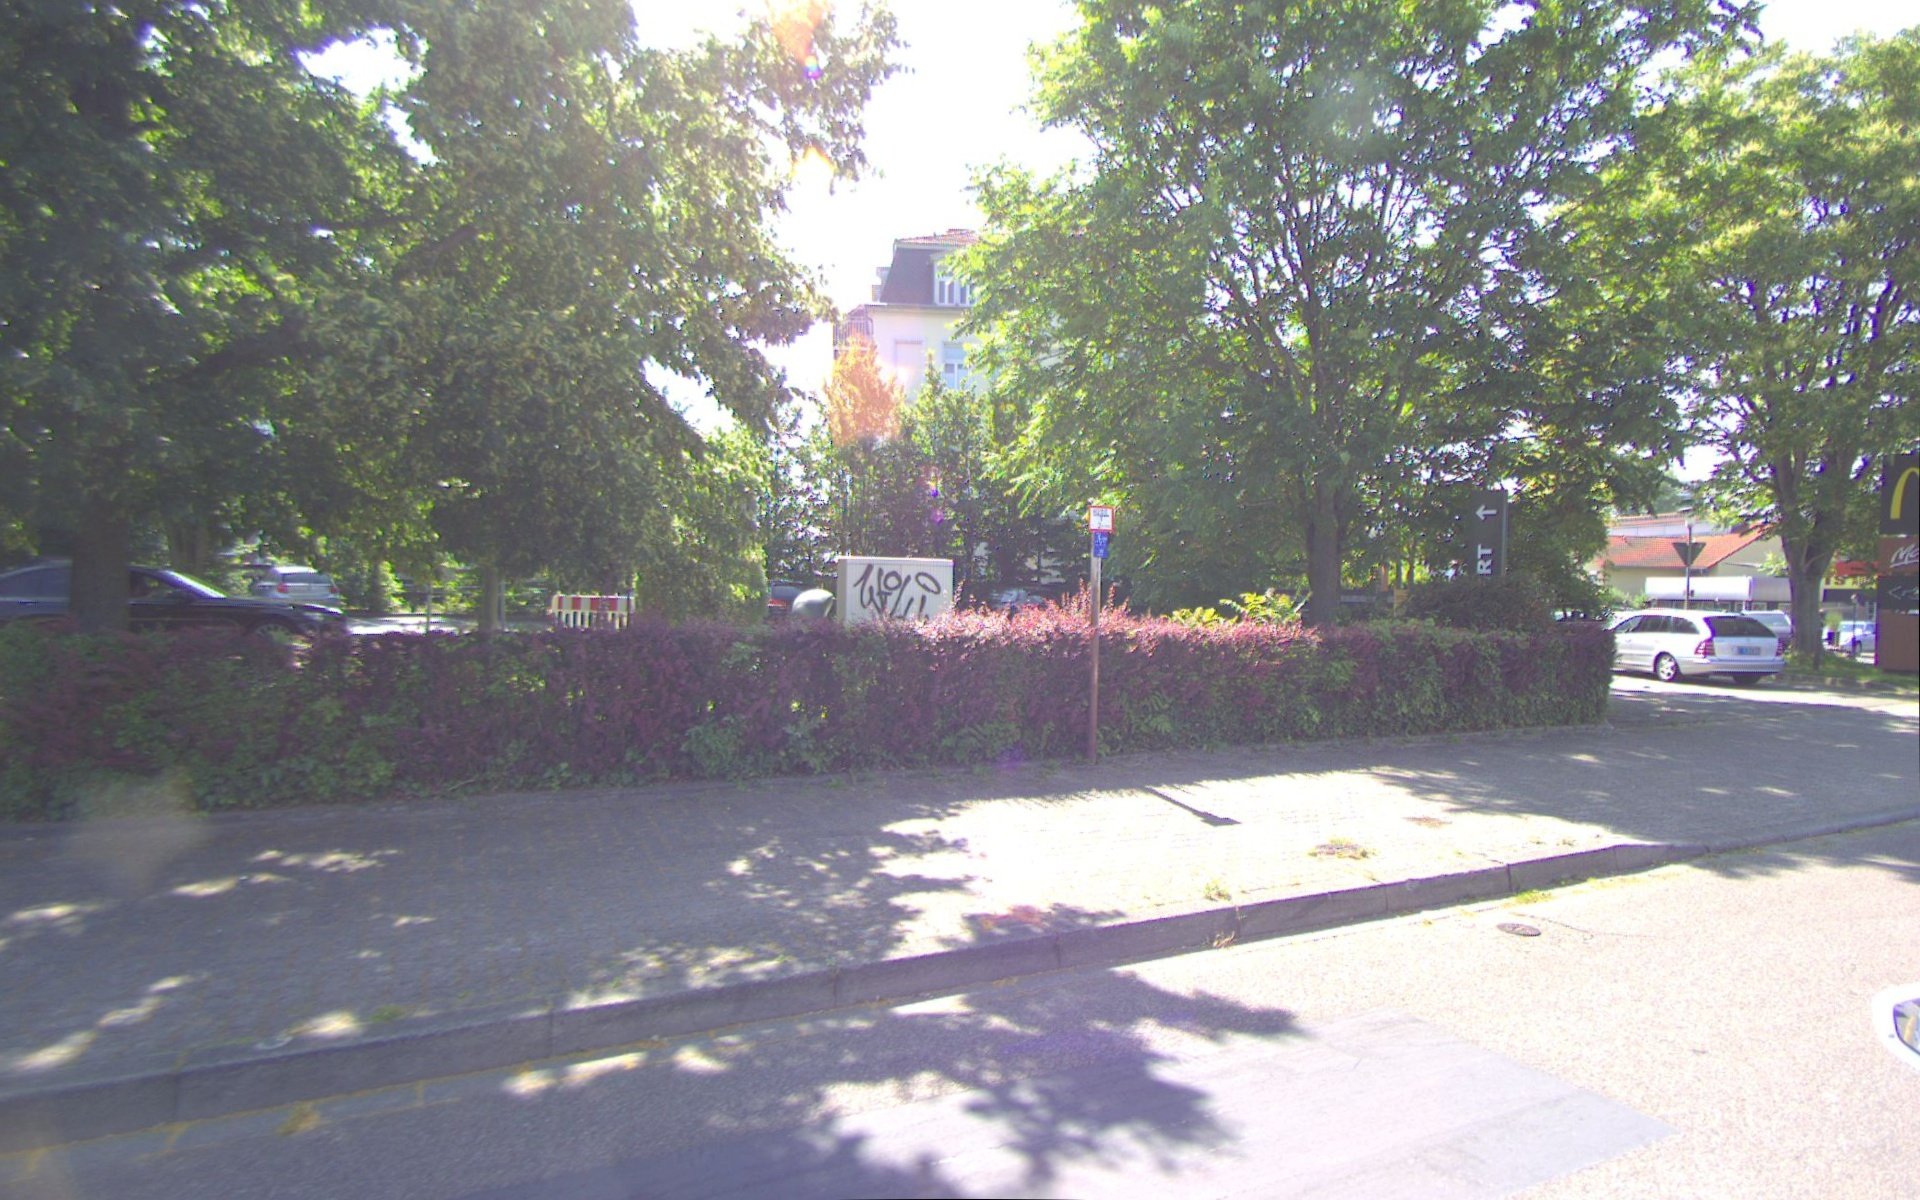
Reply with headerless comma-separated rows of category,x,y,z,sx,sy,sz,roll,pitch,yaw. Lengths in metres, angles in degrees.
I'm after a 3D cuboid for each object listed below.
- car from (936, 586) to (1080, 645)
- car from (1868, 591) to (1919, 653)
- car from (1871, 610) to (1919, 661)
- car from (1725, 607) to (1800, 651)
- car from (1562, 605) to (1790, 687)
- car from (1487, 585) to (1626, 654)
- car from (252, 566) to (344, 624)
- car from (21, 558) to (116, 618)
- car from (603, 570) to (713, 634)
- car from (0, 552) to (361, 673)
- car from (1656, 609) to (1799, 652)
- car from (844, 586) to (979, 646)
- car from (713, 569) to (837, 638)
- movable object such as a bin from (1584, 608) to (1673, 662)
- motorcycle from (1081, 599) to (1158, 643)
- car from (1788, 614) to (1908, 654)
car,1.254,0.376,27.918,1.755,1.406,4.049,1,2,-38
car,45.381,1.070,47.010,6.073,2.794,2.268,2,0,-27
car,34.250,1.290,35.768,2.015,1.729,4.303,0,-2,34
car,32.312,1.152,40.543,1.779,1.678,4.306,0,-1,31
car,14.491,0.859,20.685,1.680,1.422,4.387,0,1,2
car,18.348,0.676,31.182,1.854,1.945,4.528,-1,-3,5
car,-19.010,-0.177,28.770,1.780,1.470,4.000,1,2,-40
car,-25.948,-0.377,29.339,1.803,1.598,3.827,1,2,-38
car,-8.578,0.014,28.375,1.630,1.609,3.804,0,2,-40
car,-11.717,0.178,14.581,4.962,1.581,2.061,1,0,-25
car,35.306,1.367,46.387,4.795,1.867,2.163,1,0,19
car,-1.394,0.381,27.371,1.613,1.414,4.026,1,2,-38
car,-5.302,0.062,28.394,1.786,1.755,3.979,1,2,-38
movable object such as a bin,20.513,1.071,30.880,1.428,1.546,1.773,-2,-1,-8
motorcycle,4.560,0.574,28.805,2.148,1.147,0.568,3,2,36
car,37.920,1.443,42.907,4.617,1.596,1.905,0,0,-21
